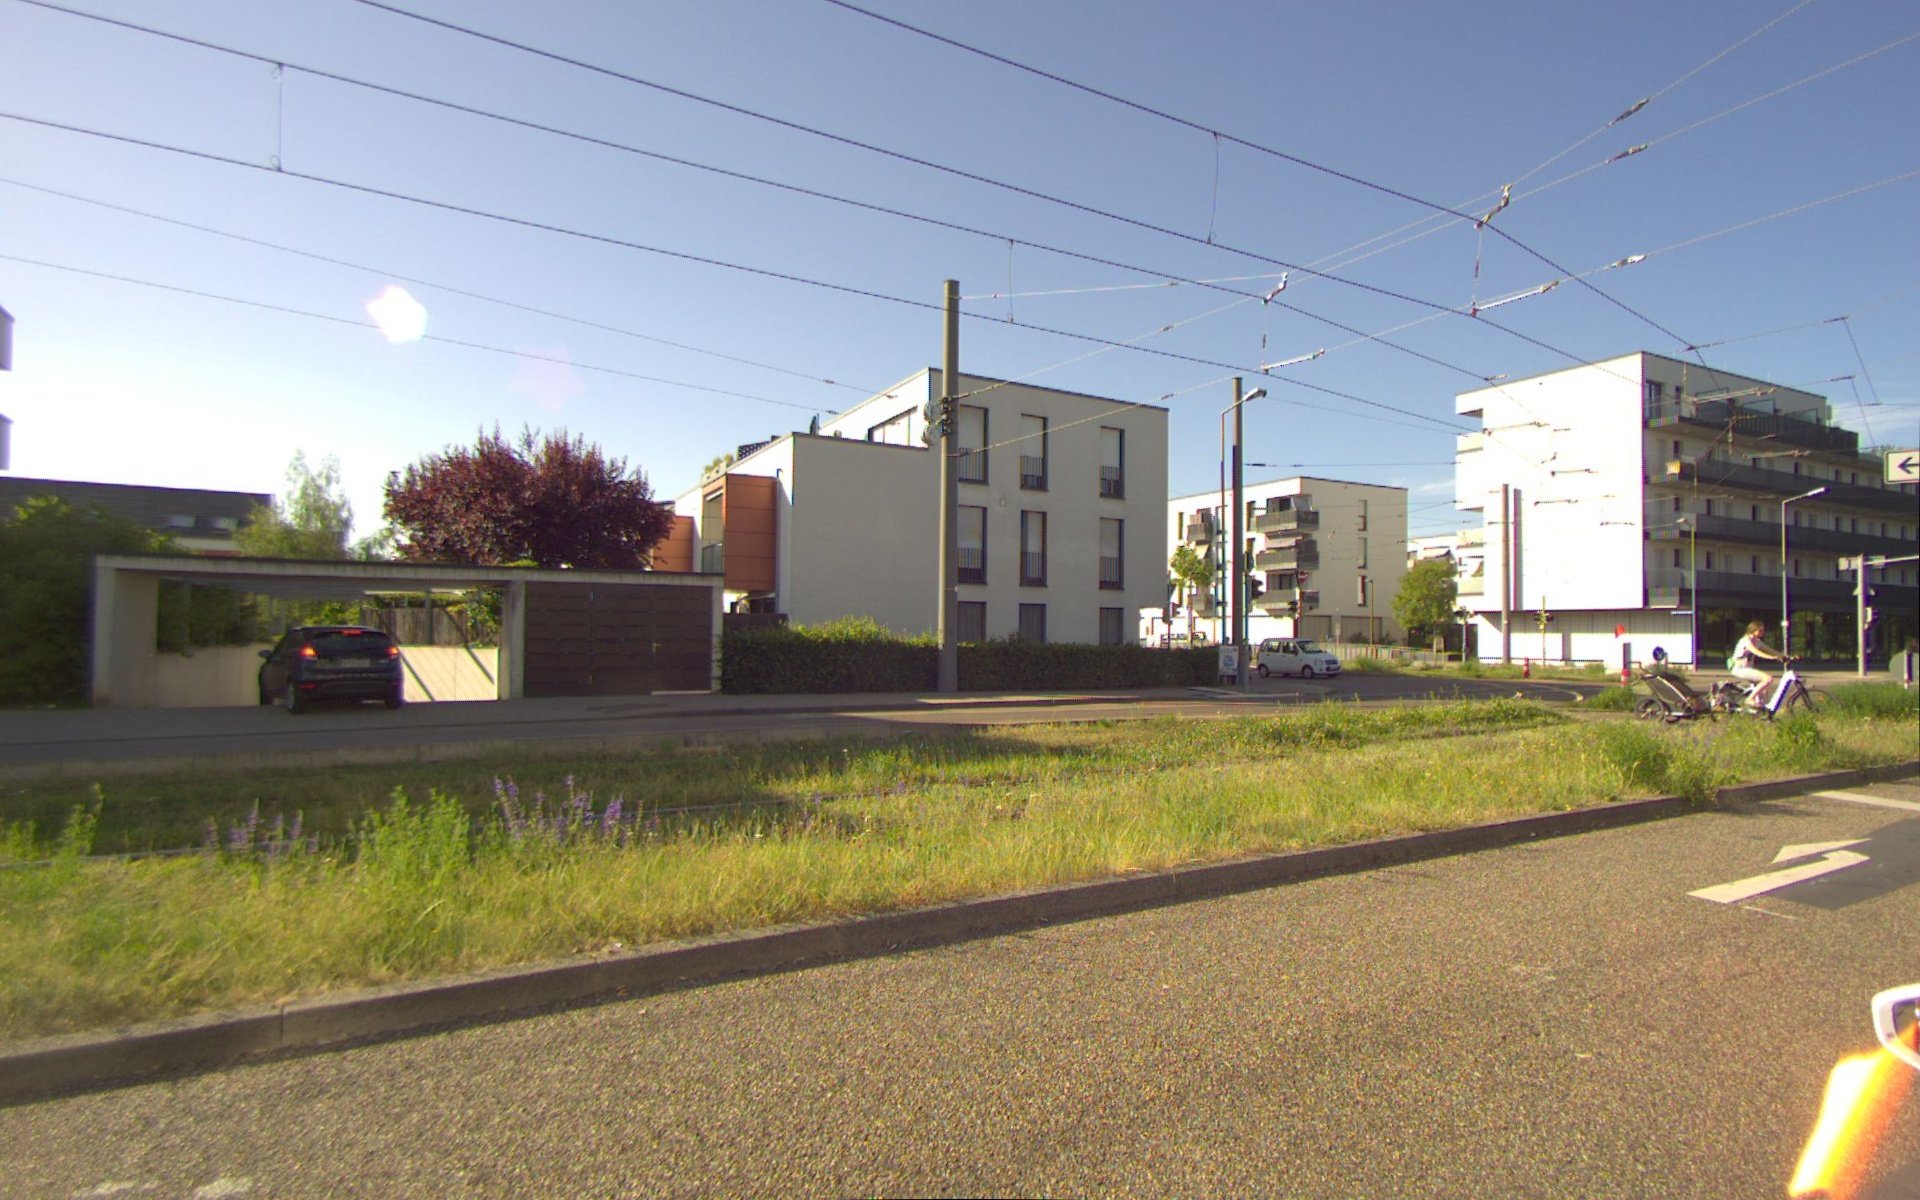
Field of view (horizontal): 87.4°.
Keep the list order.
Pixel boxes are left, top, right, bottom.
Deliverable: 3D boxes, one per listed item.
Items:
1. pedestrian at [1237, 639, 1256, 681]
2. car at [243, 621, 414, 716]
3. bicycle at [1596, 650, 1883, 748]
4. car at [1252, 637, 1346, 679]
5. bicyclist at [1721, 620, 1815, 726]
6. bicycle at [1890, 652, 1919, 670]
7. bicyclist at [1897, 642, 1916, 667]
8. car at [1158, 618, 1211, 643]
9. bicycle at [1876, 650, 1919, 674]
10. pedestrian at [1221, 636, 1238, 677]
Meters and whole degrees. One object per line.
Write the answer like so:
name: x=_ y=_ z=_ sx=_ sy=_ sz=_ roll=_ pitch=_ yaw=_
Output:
pedestrian: x=10.474 y=2.173 z=36.712 sx=0.548 sy=1.483 sz=0.611 roll=1 pitch=0 yaw=23
car: x=-11.273 y=1.156 z=17.840 sx=3.689 sy=1.449 sz=1.699 roll=0 pitch=-3 yaw=44
bicycle: x=12.854 y=1.569 z=16.813 sx=0.988 sy=1.190 sz=3.664 roll=1 pitch=1 yaw=-31
car: x=13.965 y=2.382 z=41.533 sx=1.574 sy=1.674 sz=3.475 roll=1 pitch=-3 yaw=-30
bicyclist: x=13.148 y=1.160 z=16.351 sx=0.965 sy=1.651 sz=0.905 roll=1 pitch=0 yaw=-31
bicycle: x=48.030 y=3.092 z=51.003 sx=2.051 sy=0.860 sz=0.494 roll=1 pitch=0 yaw=-26
bicyclist: x=48.052 y=2.742 z=51.003 sx=0.703 sy=1.239 sz=0.473 roll=1 pitch=0 yaw=-26
car: x=17.857 y=2.431 z=80.131 sx=1.977 sy=1.862 sz=3.967 roll=1 pitch=0 yaw=-31
bicycle: x=45.554 y=2.996 z=48.509 sx=1.800 sy=1.099 sz=0.969 roll=1 pitch=0 yaw=-6
pedestrian: x=9.919 y=2.064 z=36.969 sx=0.548 sy=1.483 sz=0.742 roll=1 pitch=0 yaw=19
